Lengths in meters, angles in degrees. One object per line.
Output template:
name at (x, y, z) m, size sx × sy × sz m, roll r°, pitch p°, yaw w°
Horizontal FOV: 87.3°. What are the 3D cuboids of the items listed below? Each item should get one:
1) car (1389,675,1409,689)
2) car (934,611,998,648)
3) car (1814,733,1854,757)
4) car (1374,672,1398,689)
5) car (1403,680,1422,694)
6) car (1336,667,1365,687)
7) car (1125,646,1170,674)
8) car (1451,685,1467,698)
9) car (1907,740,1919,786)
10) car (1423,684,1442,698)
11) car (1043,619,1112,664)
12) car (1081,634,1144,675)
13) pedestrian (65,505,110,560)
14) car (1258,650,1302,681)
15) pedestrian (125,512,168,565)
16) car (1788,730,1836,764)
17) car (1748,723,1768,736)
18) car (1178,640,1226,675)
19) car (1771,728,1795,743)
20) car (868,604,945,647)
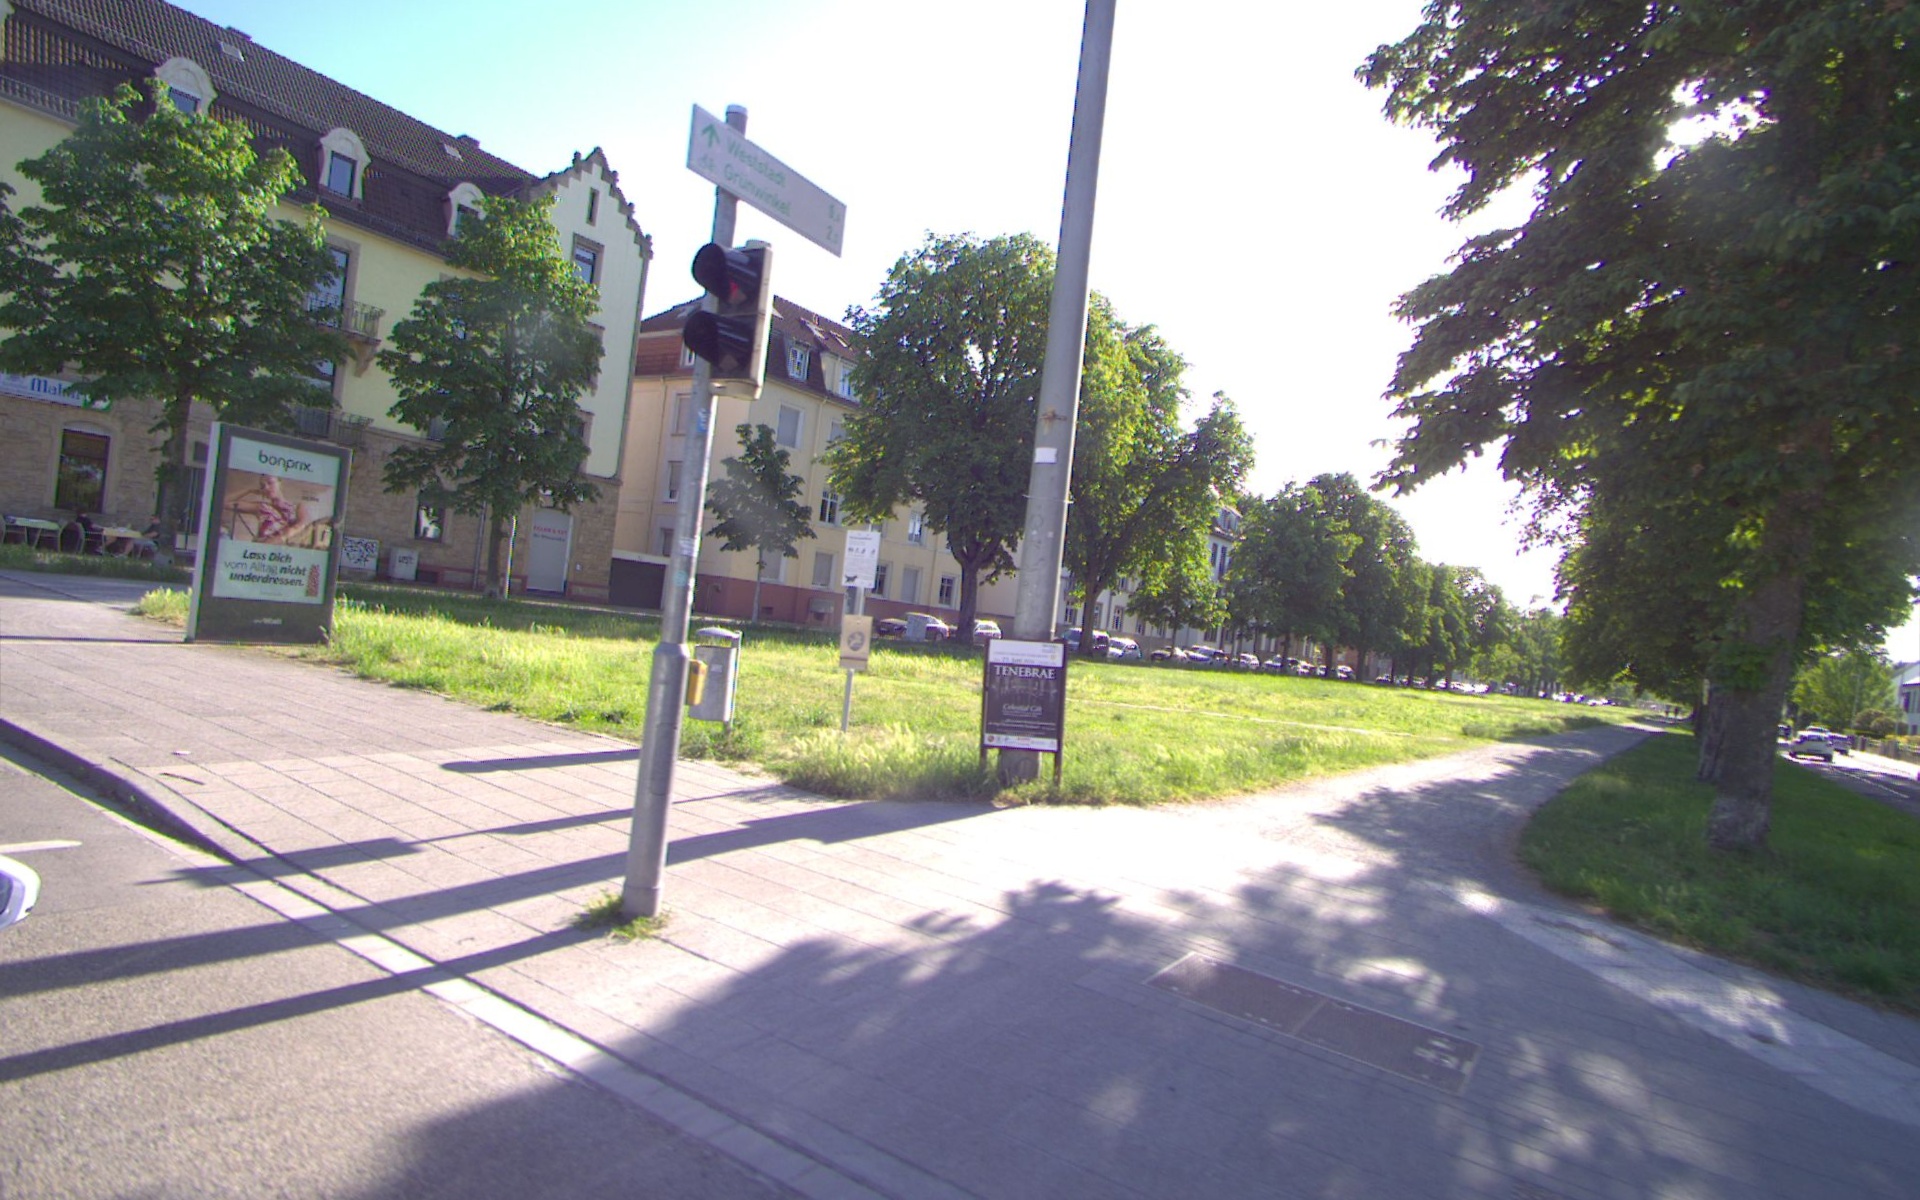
car at (62.452, 11.661, 143.068) m, size 1.708 × 1.622 × 3.697 m, roll 8°, pitch -2°, yaw 37°
car at (0.375, 1.691, 57.472) m, size 1.708 × 1.530 × 3.698 m, roll 8°, pitch -2°, yaw 36°
car at (66.394, 11.004, 76.465) m, size 1.797 × 1.451 × 3.988 m, roll 7°, pitch -1°, yaw 36°
car at (48.099, 9.125, 113.569) m, size 1.624 × 1.536 × 3.397 m, roll 8°, pitch -2°, yaw 36°
car at (68.688, 13.185, 152.517) m, size 1.708 × 1.622 × 3.697 m, roll 8°, pitch -2°, yaw 37°
car at (38.246, 7.576, 98.508) m, size 1.624 × 1.536 × 3.397 m, roll 8°, pitch -2°, yaw 36°
car at (14.558, 4.670, 77.911) m, size 1.710 × 1.622 × 3.694 m, roll 7°, pitch -2°, yaw 39°
car at (76.094, 13.903, 153.375) m, size 1.624 × 1.536 × 3.397 m, roll 8°, pitch -2°, yaw 36°
car at (40.290, 6.784, 41.023) m, size 1.789 × 1.845 × 3.992 m, roll 5°, pitch -4°, yaw 36°
car at (65.679, 12.718, 139.798) m, size 1.624 × 1.536 × 3.397 m, roll 8°, pitch -2°, yaw 36°
car at (6.513, 2.312, 55.718) m, size 1.900 × 1.903 × 3.694 m, roll 7°, pitch -2°, yaw 40°
car at (9.151, 3.291, 60.197) m, size 1.898 × 1.903 × 4.058 m, roll 8°, pitch -2°, yaw 36°
pedestrian at (-24.003, -1.851, 27.672) m, size 0.690 × 1.375 × 0.639 m, roll 8°, pitch -1°, yaw 35°
car at (27.032, 5.553, 84.929) m, size 1.898 × 2.054 × 4.651 m, roll 8°, pitch -2°, yaw 37°
pedestrian at (-23.287, -1.768, 28.791) m, size 0.690 × 1.375 × 0.639 m, roll 8°, pitch -1°, yaw 35°
car at (43.435, 7.532, 51.322) m, size 1.649 × 1.449 × 3.883 m, roll 5°, pitch -4°, yaw 39°
car at (110.891, 17.966, 139.807) m, size 1.797 × 1.451 × 3.988 m, roll 7°, pitch -1°, yaw 36°
car at (17.186, 4.088, 71.353) m, size 1.898 × 1.903 × 3.698 m, roll 8°, pitch -2°, yaw 36°
car at (96.206, 15.812, 117.578) m, size 1.797 × 1.451 × 3.988 m, roll 7°, pitch -1°, yaw 36°
car at (-2.794, 1.352, 53.098) m, size 1.800 × 1.624 × 3.843 m, roll 10°, pitch -1°, yaw 38°
